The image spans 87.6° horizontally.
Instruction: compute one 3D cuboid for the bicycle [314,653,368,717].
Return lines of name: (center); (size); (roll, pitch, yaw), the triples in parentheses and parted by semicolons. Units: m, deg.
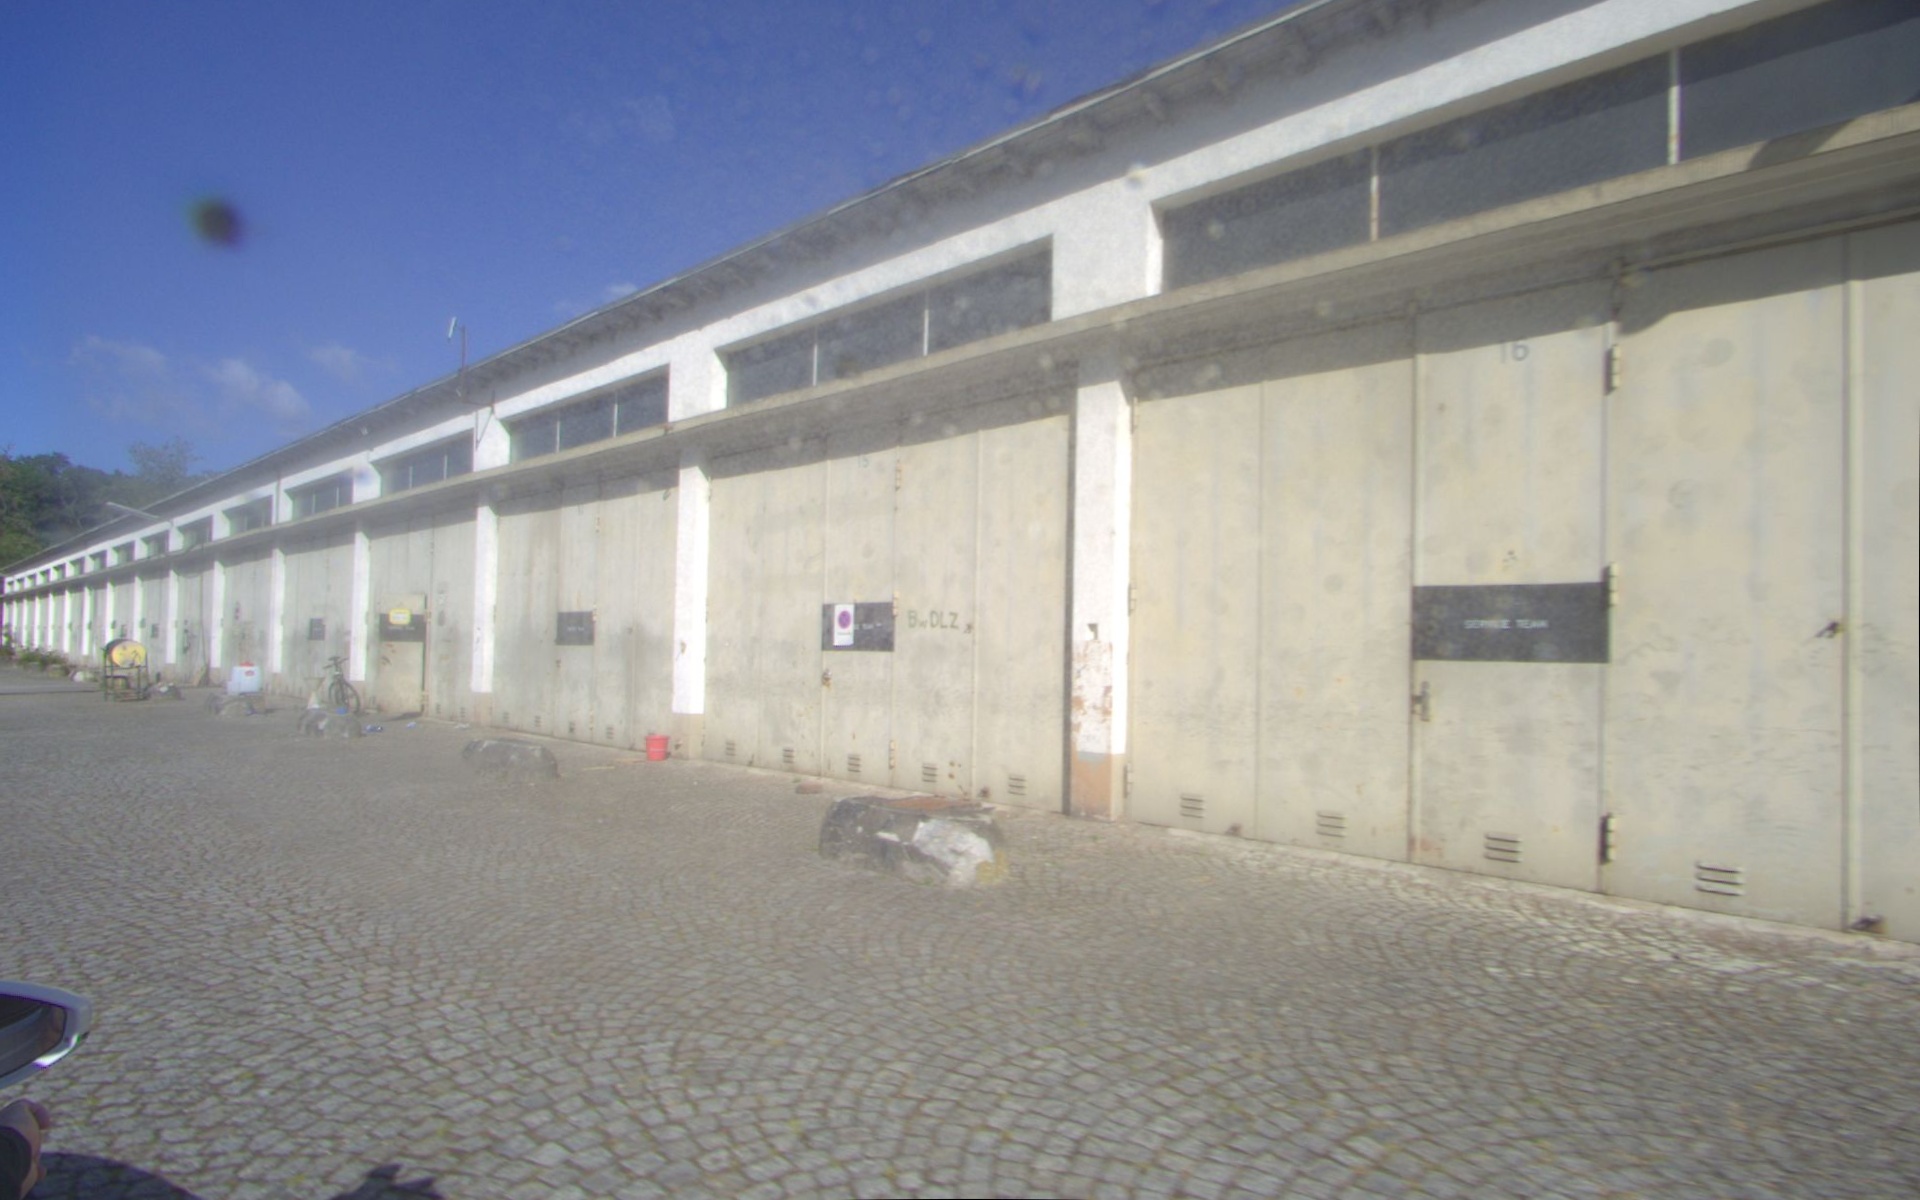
bicycle: (-11.145, 1.506, 18.008); (0.659, 1.081, 1.812); (4, -4, -36)
